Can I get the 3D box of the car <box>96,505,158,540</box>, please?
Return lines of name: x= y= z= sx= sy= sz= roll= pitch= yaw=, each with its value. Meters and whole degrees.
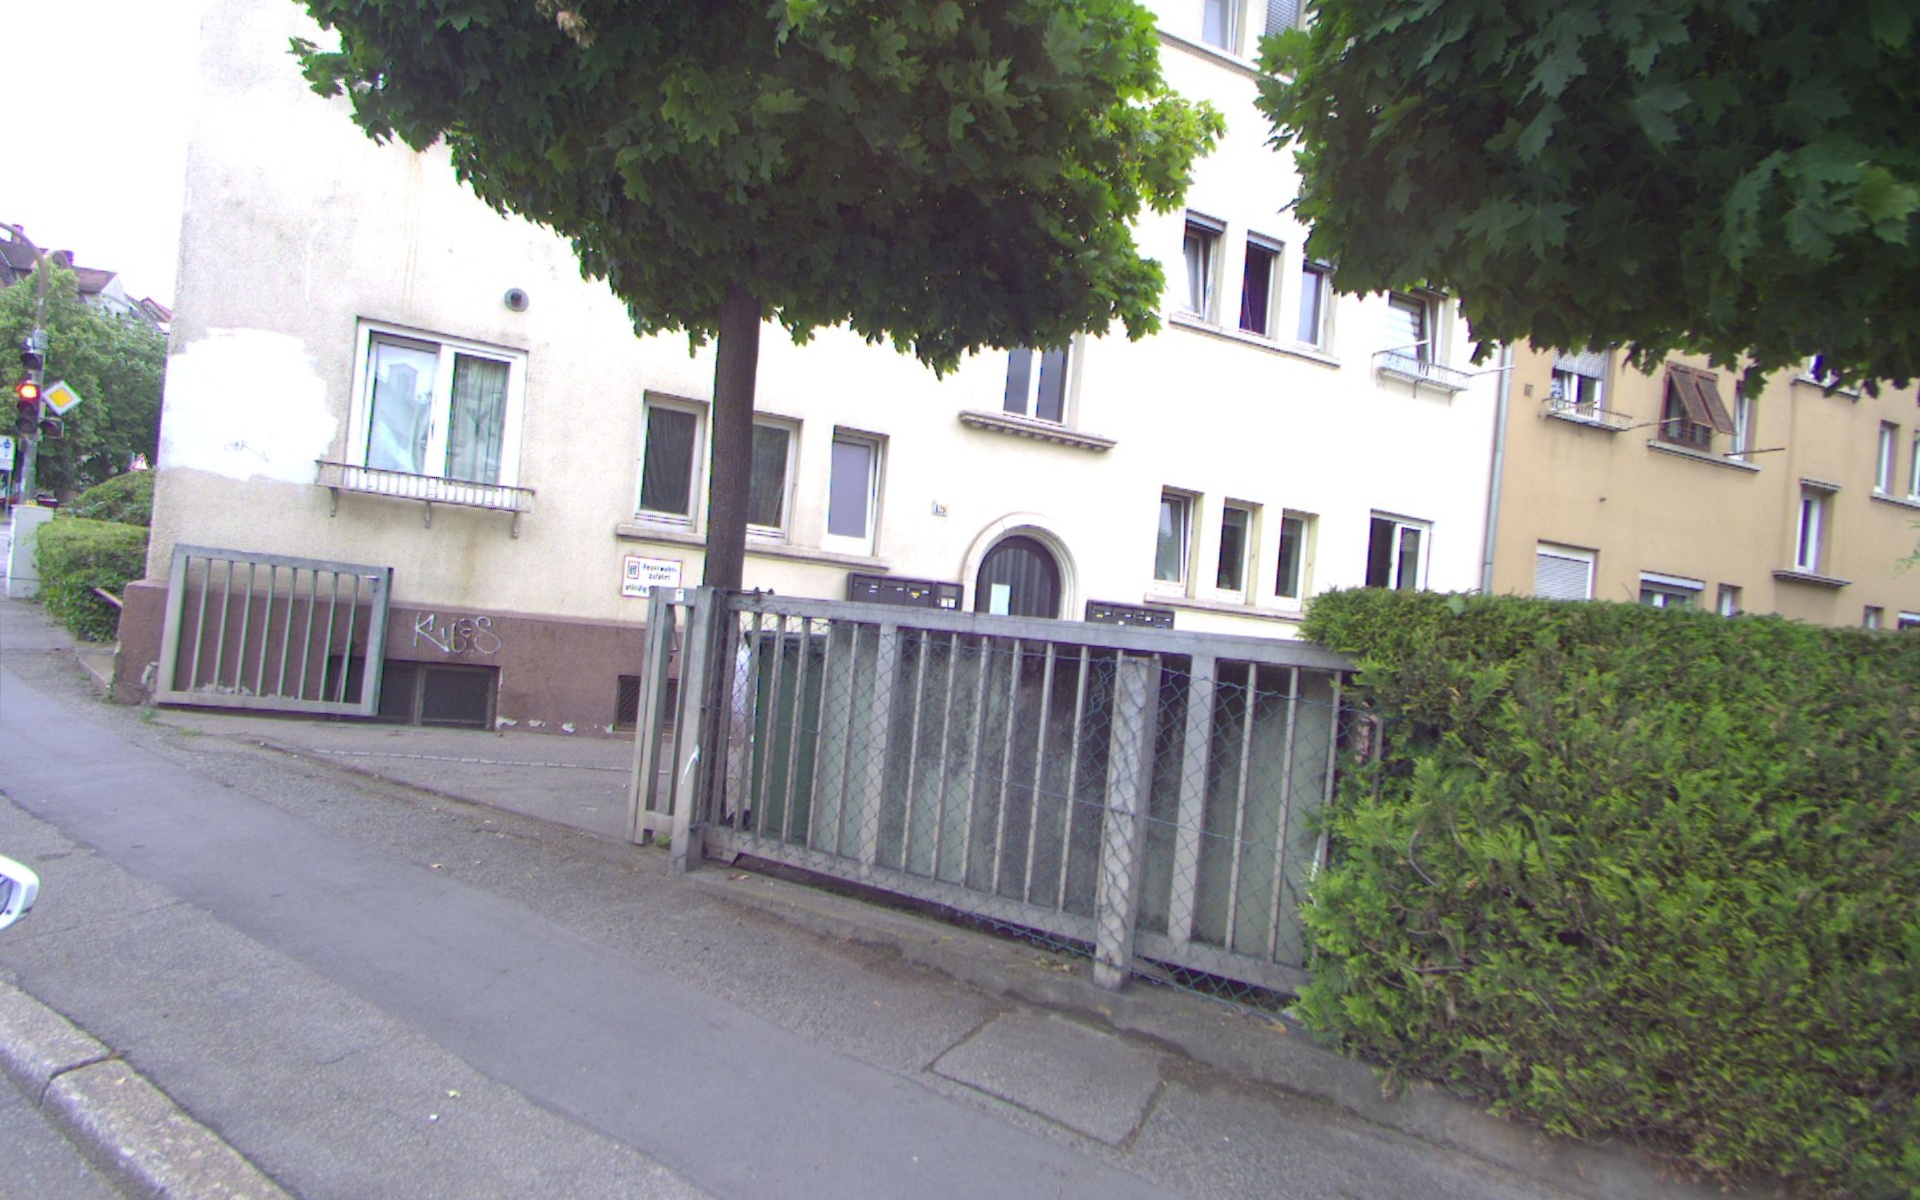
car: x=-64.645 y=-5.957 z=78.130 sx=1.970 sy=2.036 sz=3.992 roll=9 pitch=-3 yaw=-14

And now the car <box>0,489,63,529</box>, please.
car: x=-61.607 y=-6.012 z=66.242 sx=1.970 sy=2.036 sz=3.992 roll=9 pitch=-3 yaw=-14
